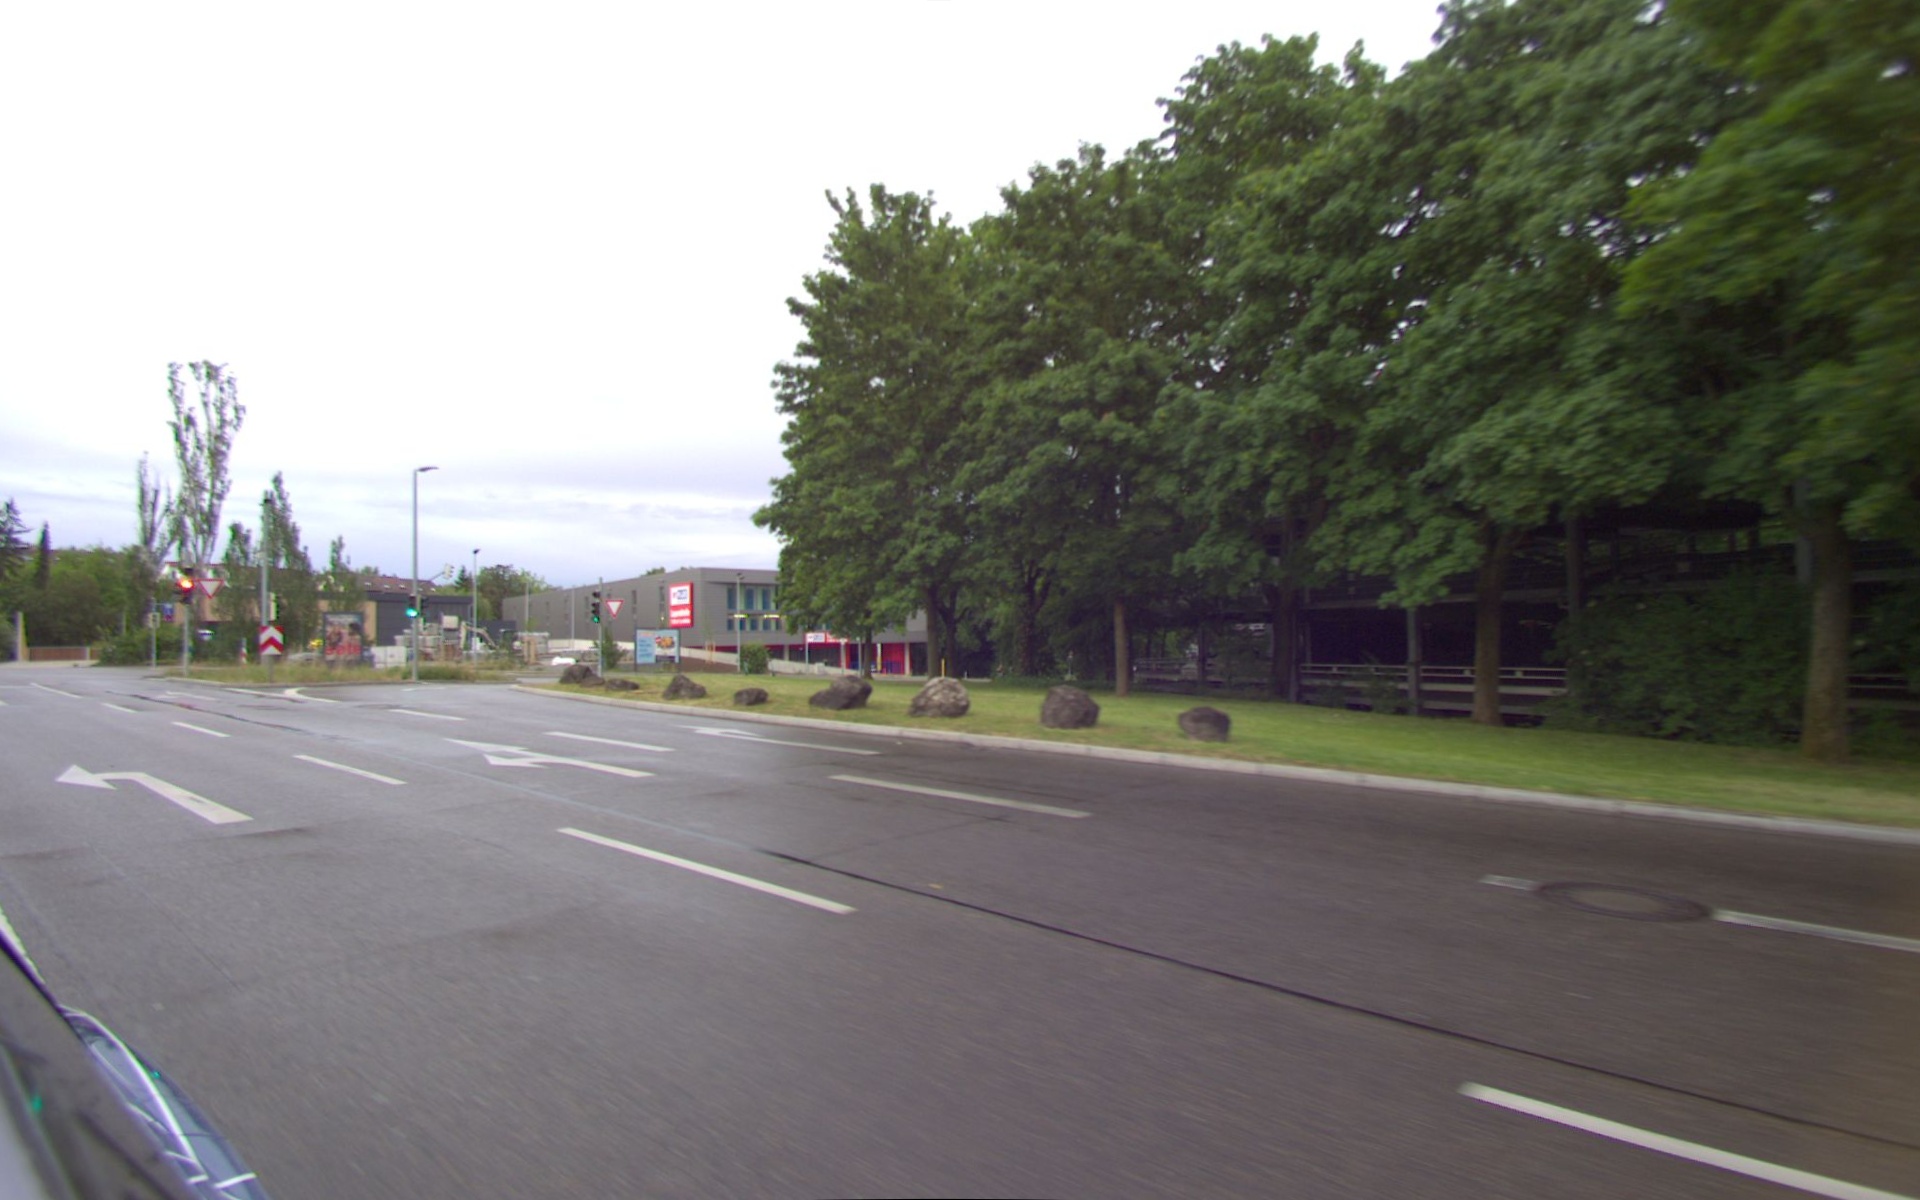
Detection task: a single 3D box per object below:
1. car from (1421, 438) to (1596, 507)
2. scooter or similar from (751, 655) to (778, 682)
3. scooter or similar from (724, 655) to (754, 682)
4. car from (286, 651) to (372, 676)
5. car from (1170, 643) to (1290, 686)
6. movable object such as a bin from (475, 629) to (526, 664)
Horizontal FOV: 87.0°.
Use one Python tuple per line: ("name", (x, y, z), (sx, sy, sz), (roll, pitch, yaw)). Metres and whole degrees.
("car", (14.828, -3.407, 27.382), (3.931, 1.530, 2.006), (-2, -1, -21))
("scooter or similar", (-9.447, 3.323, 48.897), (0.516, 1.269, 1.211), (-2, -6, 35))
("scooter or similar", (-10.451, 3.249, 47.855), (0.548, 1.269, 1.341), (-2, -6, 35))
("car", (-36.688, 3.673, 58.898), (3.980, 1.415, 1.842), (2, -4, -42))
("car", (10.096, 2.407, 37.898), (3.930, 1.530, 2.006), (2, -3, -21))
("movable object such as a bin", (-35.913, 3.649, 79.136), (1.927, 2.647, 2.958), (-3, -6, 40))
